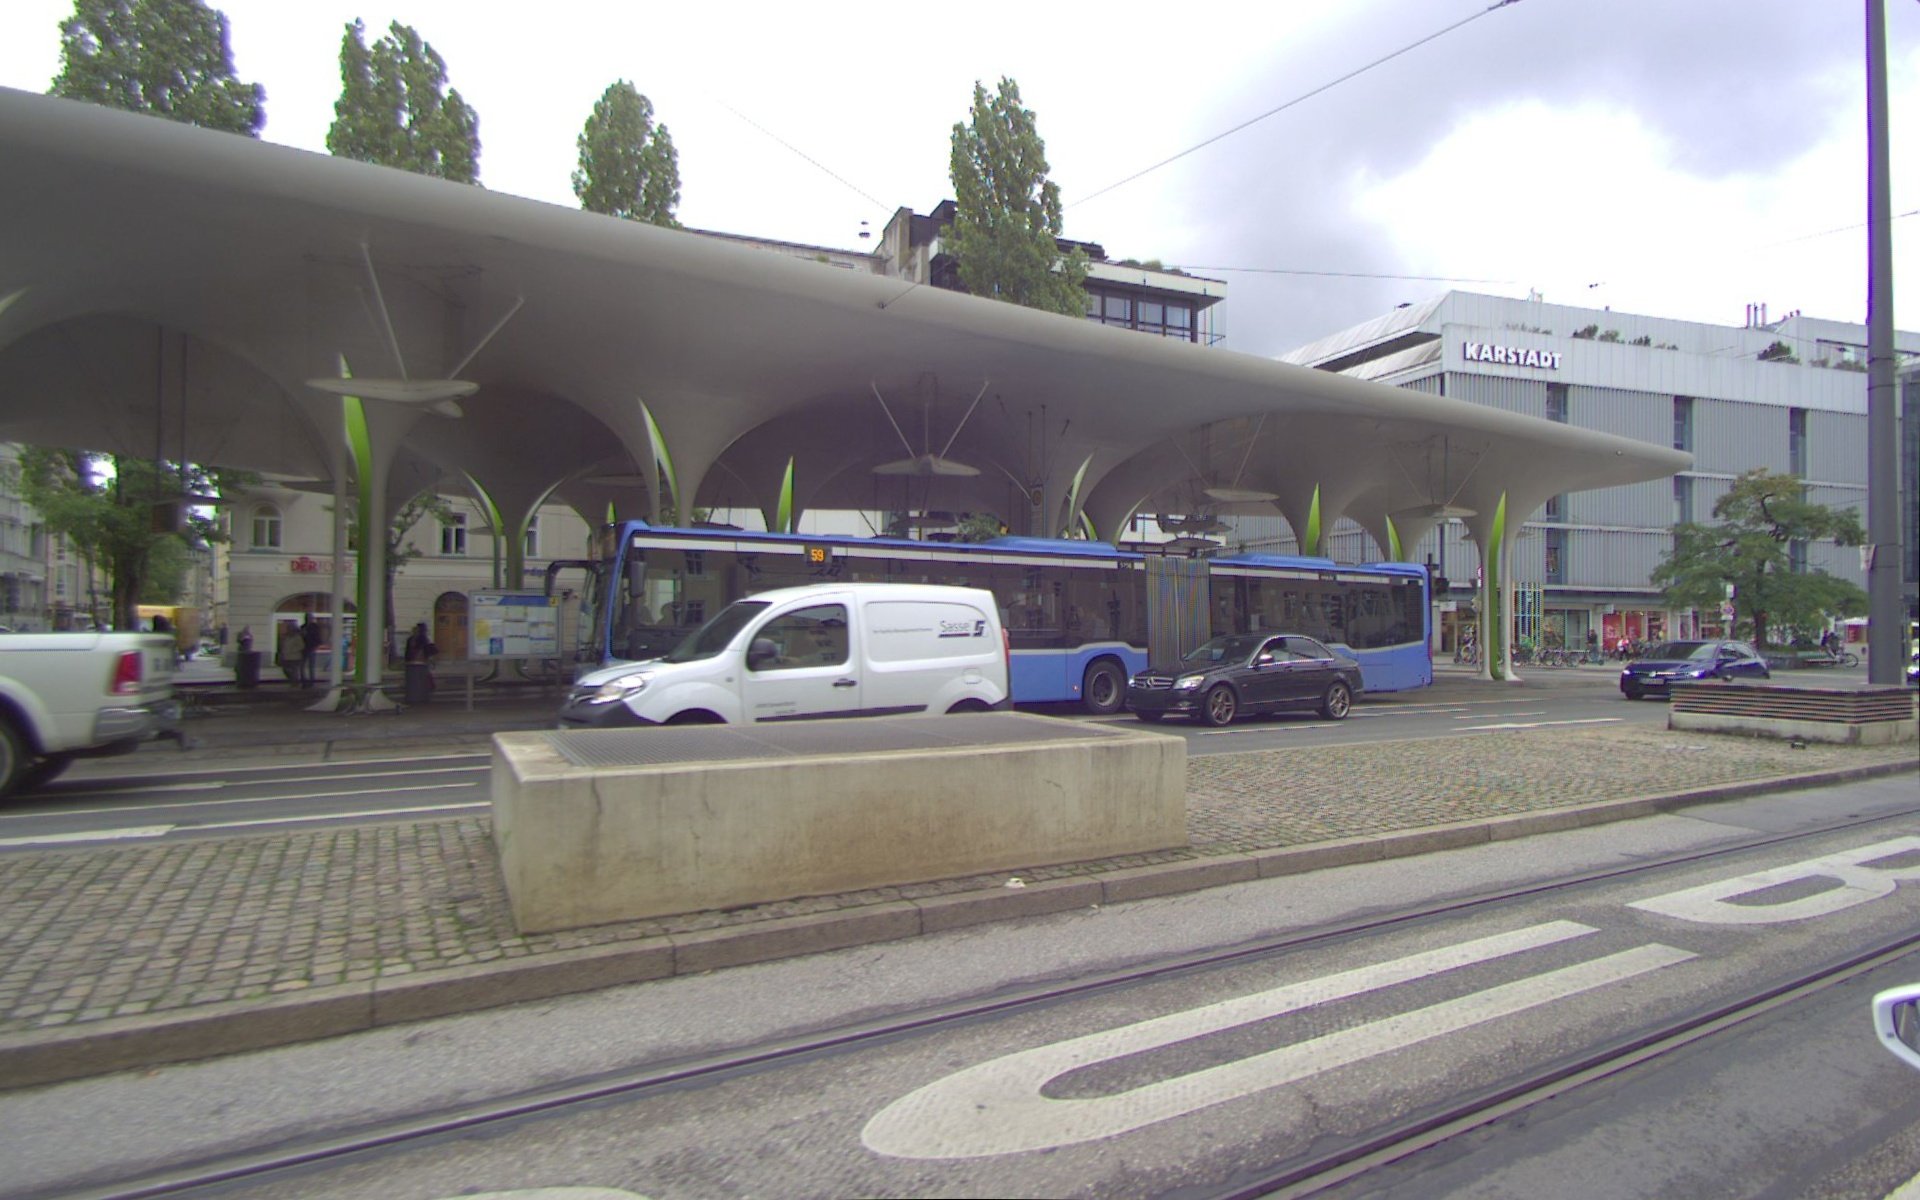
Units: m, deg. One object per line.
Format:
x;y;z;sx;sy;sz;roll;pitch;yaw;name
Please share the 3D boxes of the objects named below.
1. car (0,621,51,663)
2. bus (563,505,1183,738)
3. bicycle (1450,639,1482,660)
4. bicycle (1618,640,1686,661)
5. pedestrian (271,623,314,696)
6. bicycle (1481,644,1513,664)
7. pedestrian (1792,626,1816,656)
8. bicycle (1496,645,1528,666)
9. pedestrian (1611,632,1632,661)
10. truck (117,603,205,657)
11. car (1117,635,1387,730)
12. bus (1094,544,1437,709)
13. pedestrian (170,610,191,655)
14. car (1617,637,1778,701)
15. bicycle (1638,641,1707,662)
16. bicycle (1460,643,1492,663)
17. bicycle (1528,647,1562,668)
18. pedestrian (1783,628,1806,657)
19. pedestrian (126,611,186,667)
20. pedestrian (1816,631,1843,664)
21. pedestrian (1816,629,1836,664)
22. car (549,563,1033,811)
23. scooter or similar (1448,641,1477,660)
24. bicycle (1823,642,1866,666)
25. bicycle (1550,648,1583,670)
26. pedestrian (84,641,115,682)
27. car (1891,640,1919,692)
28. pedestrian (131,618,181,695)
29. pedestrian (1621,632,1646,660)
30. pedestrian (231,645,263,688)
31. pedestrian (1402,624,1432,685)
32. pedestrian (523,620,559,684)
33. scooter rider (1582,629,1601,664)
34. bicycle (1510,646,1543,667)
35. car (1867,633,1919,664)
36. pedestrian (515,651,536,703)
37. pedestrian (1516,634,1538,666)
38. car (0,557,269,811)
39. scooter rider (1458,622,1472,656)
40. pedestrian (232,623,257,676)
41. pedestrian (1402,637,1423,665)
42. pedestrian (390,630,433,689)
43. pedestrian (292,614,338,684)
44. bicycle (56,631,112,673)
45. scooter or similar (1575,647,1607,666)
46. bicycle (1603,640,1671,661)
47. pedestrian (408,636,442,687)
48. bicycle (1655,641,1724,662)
-45.572;1.934;46.753;4.768;1.945;1.976;2;-2;-42;car
-0.993;0.447;17.026;10.397;3.046;2.647;1;-3;-32;bus
27.612;2.695;54.801;1.871;1.126;0.582;3;-2;-29;bicycle
41.089;3.013;59.727;1.042;1.172;3.493;1;-2;-16;bicycle
-15.245;1.355;22.947;0.691;1.639;0.644;1;-2;-26;pedestrian
28.402;2.872;53.138;1.962;1.011;0.524;3;-2;-30;bicycle
44.989;2.193;53.555;0.737;1.575;0.773;0;-1;21;pedestrian
28.772;2.886;52.352;1.962;1.011;0.524;3;-2;-30;bicycle
36.834;2.608;55.937;0.709;1.595;0.638;1;-1;-17;pedestrian
-40.170;1.501;50.694;2.412;2.546;7.125;1;-2;-30;truck
4.897;1.291;16.623;4.561;1.396;1.664;1;-3;-32;car
6.665;0.624;21.606;7.422;3.046;2.649;1;-3;-29;bus
-35.726;1.504;46.038;0.564;2.040;0.666;1;-1;-22;pedestrian
17.677;1.605;24.032;4.186;1.414;1.669;2;-3;-32;car
42.652;3.051;60.233;1.042;1.172;3.493;1;-2;-16;bicycle
27.864;2.851;54.237;1.962;1.011;0.524;3;-2;-30;bicycle
29.537;2.915;50.710;1.962;1.011;0.524;3;-2;-30;bicycle
44.076;2.262;53.042;0.737;1.513;0.772;0;-1;26;pedestrian
-17.633;0.844;22.056;0.867;1.170;0.908;1;1;-30;pedestrian
44.607;2.415;51.515;0.740;1.676;0.770;1;-1;-19;pedestrian
45.317;2.428;52.574;0.739;1.796;0.770;-1;-1;37;pedestrian
-1.503;0.734;9.502;4.172;1.879;1.776;1;-3;-33;car
28.014;2.804;56.008;1.382;0.995;0.413;-1;-2;37;scooter or similar
43.128;2.635;49.003;0.368;1.126;1.569;1;-1;-25;bicycle
29.973;2.932;49.625;1.962;1.011;0.524;3;-2;-30;bicycle
-23.508;1.663;27.447;0.573;1.098;0.513;1;-2;-37;pedestrian
28.691;1.895;28.901;3.991;1.435;1.833;1;-2;-32;car
-16.950;1.172;21.171;0.652;1.585;0.640;-1;-2;35;pedestrian
38.674;2.659;57.702;0.962;1.602;0.796;1;-1;-19;pedestrian
-17.333;1.613;24.421;0.450;1.002;0.513;0;-1;34;pedestrian
13.230;1.559;29.075;0.606;1.743;0.546;1;-1;-22;pedestrian
-11.772;1.446;28.265;0.882;1.753;0.869;1;-2;-22;pedestrian
33.842;2.468;53.820;0.614;1.859;0.660;1;-2;-37;scooter rider
29.123;2.899;51.653;1.962;1.011;0.524;3;-2;-30;bicycle
50.152;2.575;53.764;4.382;1.556;1.976;1;-3;-42;car
-18.687;3.322;43.208;0.716;2.201;0.556;1;-1;-19;pedestrian
29.740;2.626;52.662;0.804;1.640;0.831;1;-1;-44;pedestrian
-9.102;0.647;7.715;6.088;1.912;2.164;1;-3;-32;car
28.130;2.186;55.971;0.600;1.863;0.554;-1;-2;36;scooter rider
-25.084;1.744;35.234;0.546;1.838;0.556;1;-1;-18;pedestrian
27.099;3.049;60.154;0.844;1.663;0.786;1;-1;-18;pedestrian
-14.416;1.551;26.403;0.888;1.528;0.738;2;-2;-37;pedestrian
-16.090;1.222;25.065;0.635;1.719;0.700;0;-1;11;pedestrian
-36.479;2.141;41.882;0.989;1.634;3.597;1;-2;-29;bicycle
33.791;3.008;53.809;0.410;0.995;1.390;1;-2;-36;scooter or similar
39.930;2.985;59.348;1.042;1.172;3.493;1;-2;-16;bicycle
-13.503;1.543;25.372;0.563;1.282;0.519;0;-1;-2;pedestrian
44.022;3.085;60.679;1.042;1.172;3.493;1;-2;-16;bicycle
